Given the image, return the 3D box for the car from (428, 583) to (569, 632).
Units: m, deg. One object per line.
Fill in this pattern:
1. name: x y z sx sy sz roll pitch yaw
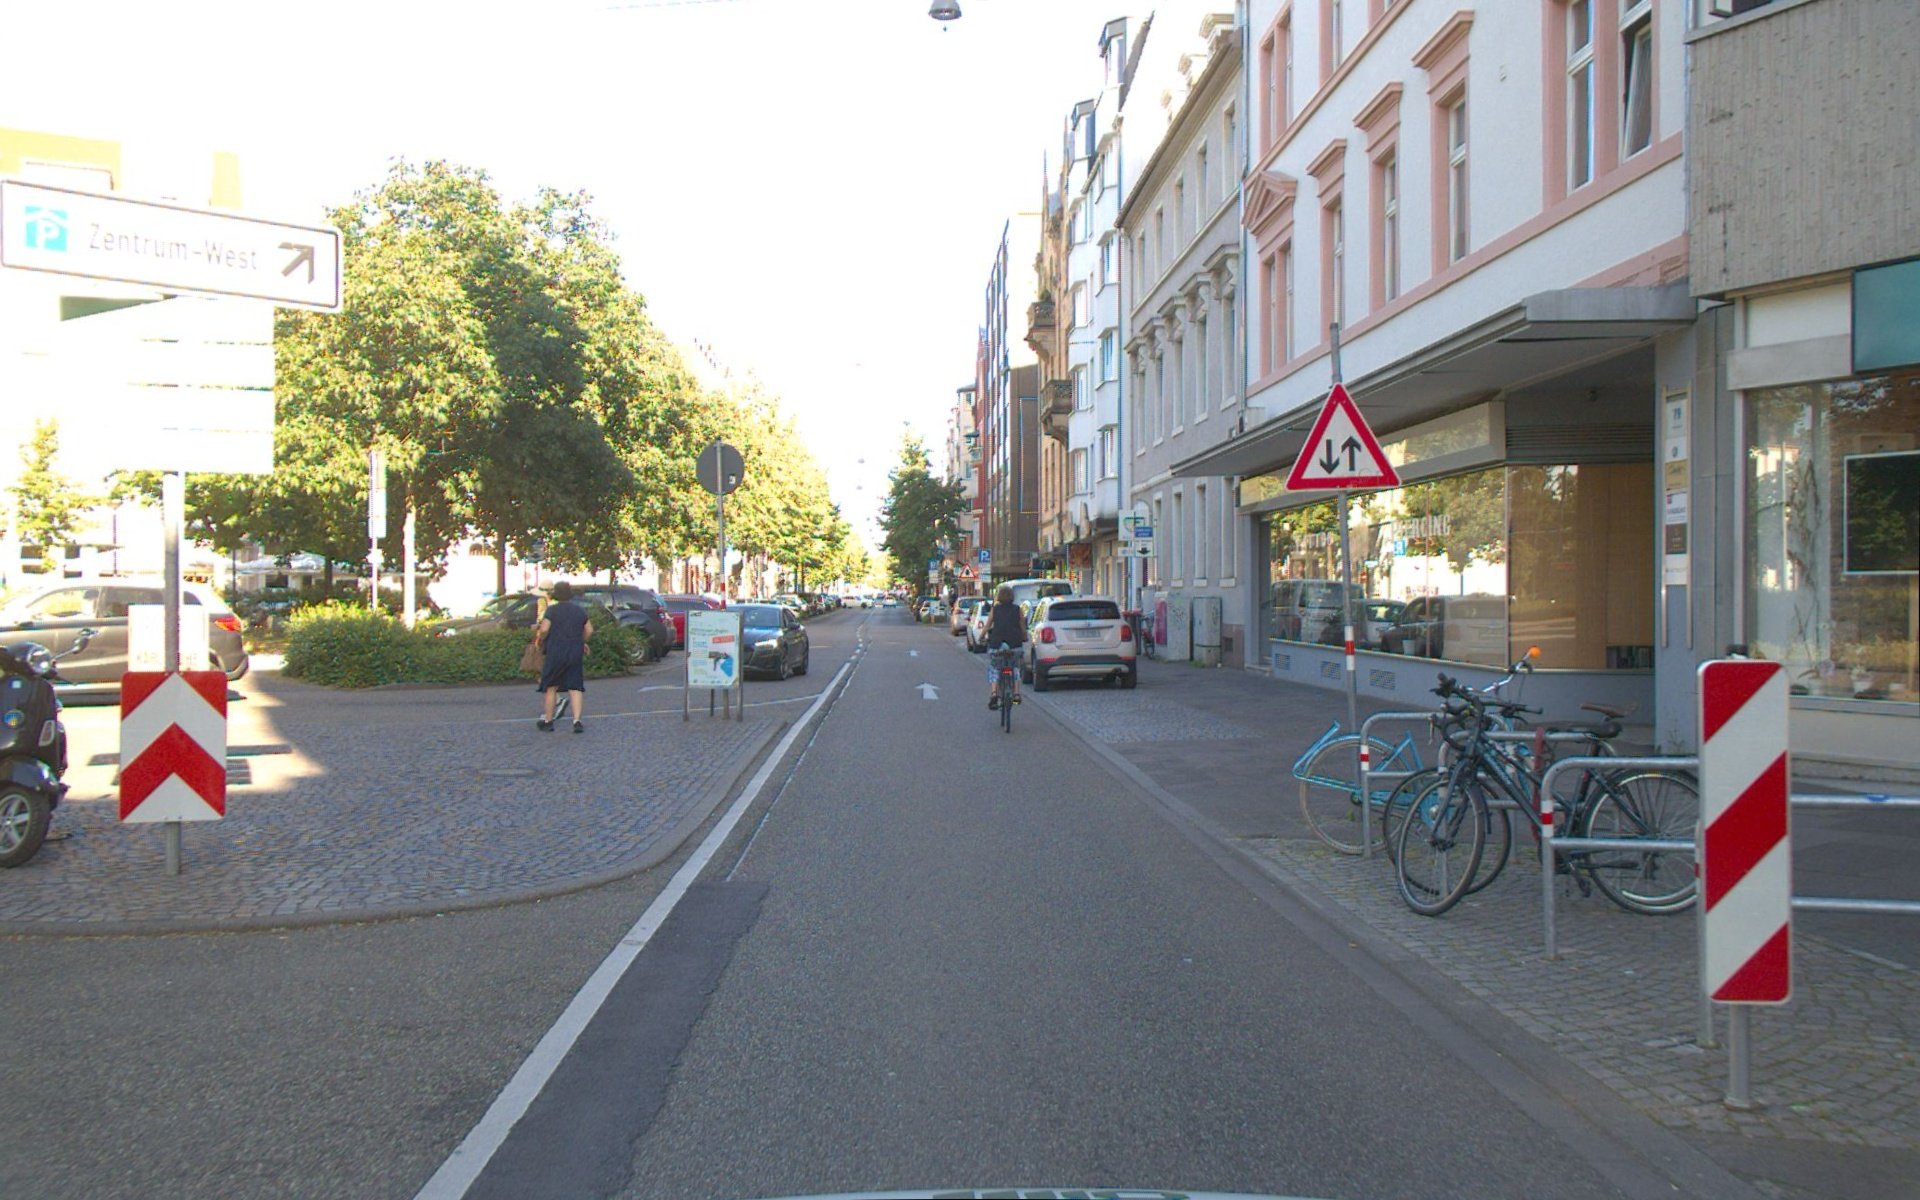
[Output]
1. car: -18.836 0.316 67.537 5.206 1.831 2.142 2 -1 -29

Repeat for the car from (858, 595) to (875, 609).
1. car: -11.192 0.215 198.204 1.953 1.583 3.998 1 -1 -2

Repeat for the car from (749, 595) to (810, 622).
1. car: -12.346 0.582 113.360 3.906 1.703 2.088 1 -1 -2

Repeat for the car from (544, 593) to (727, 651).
1. car: -9.128 0.634 46.585 4.776 1.514 1.750 2 -1 -26

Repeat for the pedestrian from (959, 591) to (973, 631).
1. pedestrian: 0.277 0.499 75.115 0.601 1.765 0.633 1 -1 -1

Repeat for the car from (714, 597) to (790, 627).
1. car: -11.382 0.649 90.811 3.906 1.534 1.999 1 -1 -2

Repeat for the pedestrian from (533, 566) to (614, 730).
1. pedestrian: -4.114 0.508 17.581 0.630 1.701 0.685 2 -1 -32

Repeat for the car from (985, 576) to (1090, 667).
1. car: 1.770 0.479 39.627 1.954 2.040 5.113 0 0 -4

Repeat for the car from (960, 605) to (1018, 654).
1. car: 0.899 0.956 53.242 1.644 1.473 3.783 1 -1 -2

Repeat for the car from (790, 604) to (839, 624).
1. car: -12.485 1.190 141.933 3.905 1.534 2.000 2 -1 1

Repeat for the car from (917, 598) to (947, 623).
1. car: -1.884 0.722 111.550 1.953 1.646 4.009 2 -1 0

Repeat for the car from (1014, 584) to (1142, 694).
1. car: 2.031 0.688 29.797 1.710 1.769 4.957 1 -1 -3

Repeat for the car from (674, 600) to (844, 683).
1. car: -3.745 0.782 31.776 1.870 1.441 4.814 1 -1 10

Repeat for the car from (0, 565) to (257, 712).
1. car: -10.923 0.459 20.579 3.819 1.712 1.793 0 -1 -32

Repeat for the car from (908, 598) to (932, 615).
1. car: -3.503 0.559 143.772 1.954 1.478 3.998 1 0 -3

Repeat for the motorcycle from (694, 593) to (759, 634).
1. motorcycle: -9.514 0.541 67.488 2.419 1.632 1.000 -1 0 16

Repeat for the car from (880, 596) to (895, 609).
1. car: -8.962 0.337 204.558 1.832 1.583 3.998 1 -1 -2

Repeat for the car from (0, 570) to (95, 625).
1. car: -36.424 -0.113 63.599 5.514 2.049 1.800 2 -1 -29

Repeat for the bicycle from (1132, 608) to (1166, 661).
1. bicycle: 4.429 0.814 38.704 0.473 1.206 1.720 -2 -2 16

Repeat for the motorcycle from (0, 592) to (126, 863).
1. motorcycle: -5.184 0.665 9.371 0.736 1.398 1.746 2 -1 -25

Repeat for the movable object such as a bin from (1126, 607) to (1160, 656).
1. movable object such as a bin: 4.506 0.769 40.763 0.753 1.181 0.578 1 -1 0

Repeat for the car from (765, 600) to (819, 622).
1. car: -12.583 0.803 124.181 3.907 1.534 1.999 1 -1 -3

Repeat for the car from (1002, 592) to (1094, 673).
1. car: 1.819 0.684 35.218 1.665 1.632 3.755 0 -1 -2

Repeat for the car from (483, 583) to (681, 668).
1. car: -8.083 0.537 35.320 3.926 1.697 1.990 2 0 -19

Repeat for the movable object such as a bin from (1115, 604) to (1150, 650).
1. movable object such as a bin: 4.464 0.692 42.744 0.821 1.157 0.699 -1 -1 0

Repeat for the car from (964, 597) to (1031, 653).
1. car: 1.078 0.736 49.313 1.684 1.541 3.580 -2 -1 -3

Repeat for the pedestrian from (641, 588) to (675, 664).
1. pedestrian: -6.842 0.589 37.483 0.686 1.678 0.645 1 -1 -9

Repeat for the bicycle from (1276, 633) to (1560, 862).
1. bicycle: 2.759 0.852 9.988 1.587 1.265 0.659 1 -1 18

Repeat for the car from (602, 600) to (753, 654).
1. car: -8.534 0.818 50.071 4.177 1.503 1.718 2 -1 -31

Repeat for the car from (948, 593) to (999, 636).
1. car: 0.529 0.628 70.420 1.861 1.704 4.822 1 -1 -3

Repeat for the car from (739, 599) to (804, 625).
1. car: -11.806 0.767 103.772 3.906 1.534 1.999 1 -1 -2

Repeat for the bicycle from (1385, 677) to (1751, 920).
1. bicycle: 2.943 0.947 8.108 1.643 1.081 0.344 1 -1 14

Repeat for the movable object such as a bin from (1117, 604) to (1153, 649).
1. movable object such as a bin: 4.439 0.668 42.038 0.778 1.095 0.660 -3 -1 -1

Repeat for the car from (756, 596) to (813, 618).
1. car: -12.688 0.519 119.555 3.906 1.534 1.894 1 -1 -2

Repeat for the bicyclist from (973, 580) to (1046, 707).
1. bicyclist: 0.588 0.524 20.097 0.770 1.478 1.095 1 -1 -3

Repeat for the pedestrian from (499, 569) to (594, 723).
1. pedestrian: -4.768 0.525 19.079 0.787 1.729 0.669 0 -1 28

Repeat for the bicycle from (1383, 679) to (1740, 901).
1. bicycle: 3.042 0.947 8.479 1.667 1.022 0.428 1 -1 14

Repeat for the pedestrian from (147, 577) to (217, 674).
1. pedestrian: -12.633 0.411 26.867 0.763 1.549 0.944 2 -2 -41

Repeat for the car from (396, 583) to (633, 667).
1. car: -8.439 0.493 31.452 3.957 1.495 1.850 2 -1 -38

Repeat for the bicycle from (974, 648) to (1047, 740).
1. bicycle: 0.584 1.096 19.920 0.639 0.975 2.696 1 -1 -3
